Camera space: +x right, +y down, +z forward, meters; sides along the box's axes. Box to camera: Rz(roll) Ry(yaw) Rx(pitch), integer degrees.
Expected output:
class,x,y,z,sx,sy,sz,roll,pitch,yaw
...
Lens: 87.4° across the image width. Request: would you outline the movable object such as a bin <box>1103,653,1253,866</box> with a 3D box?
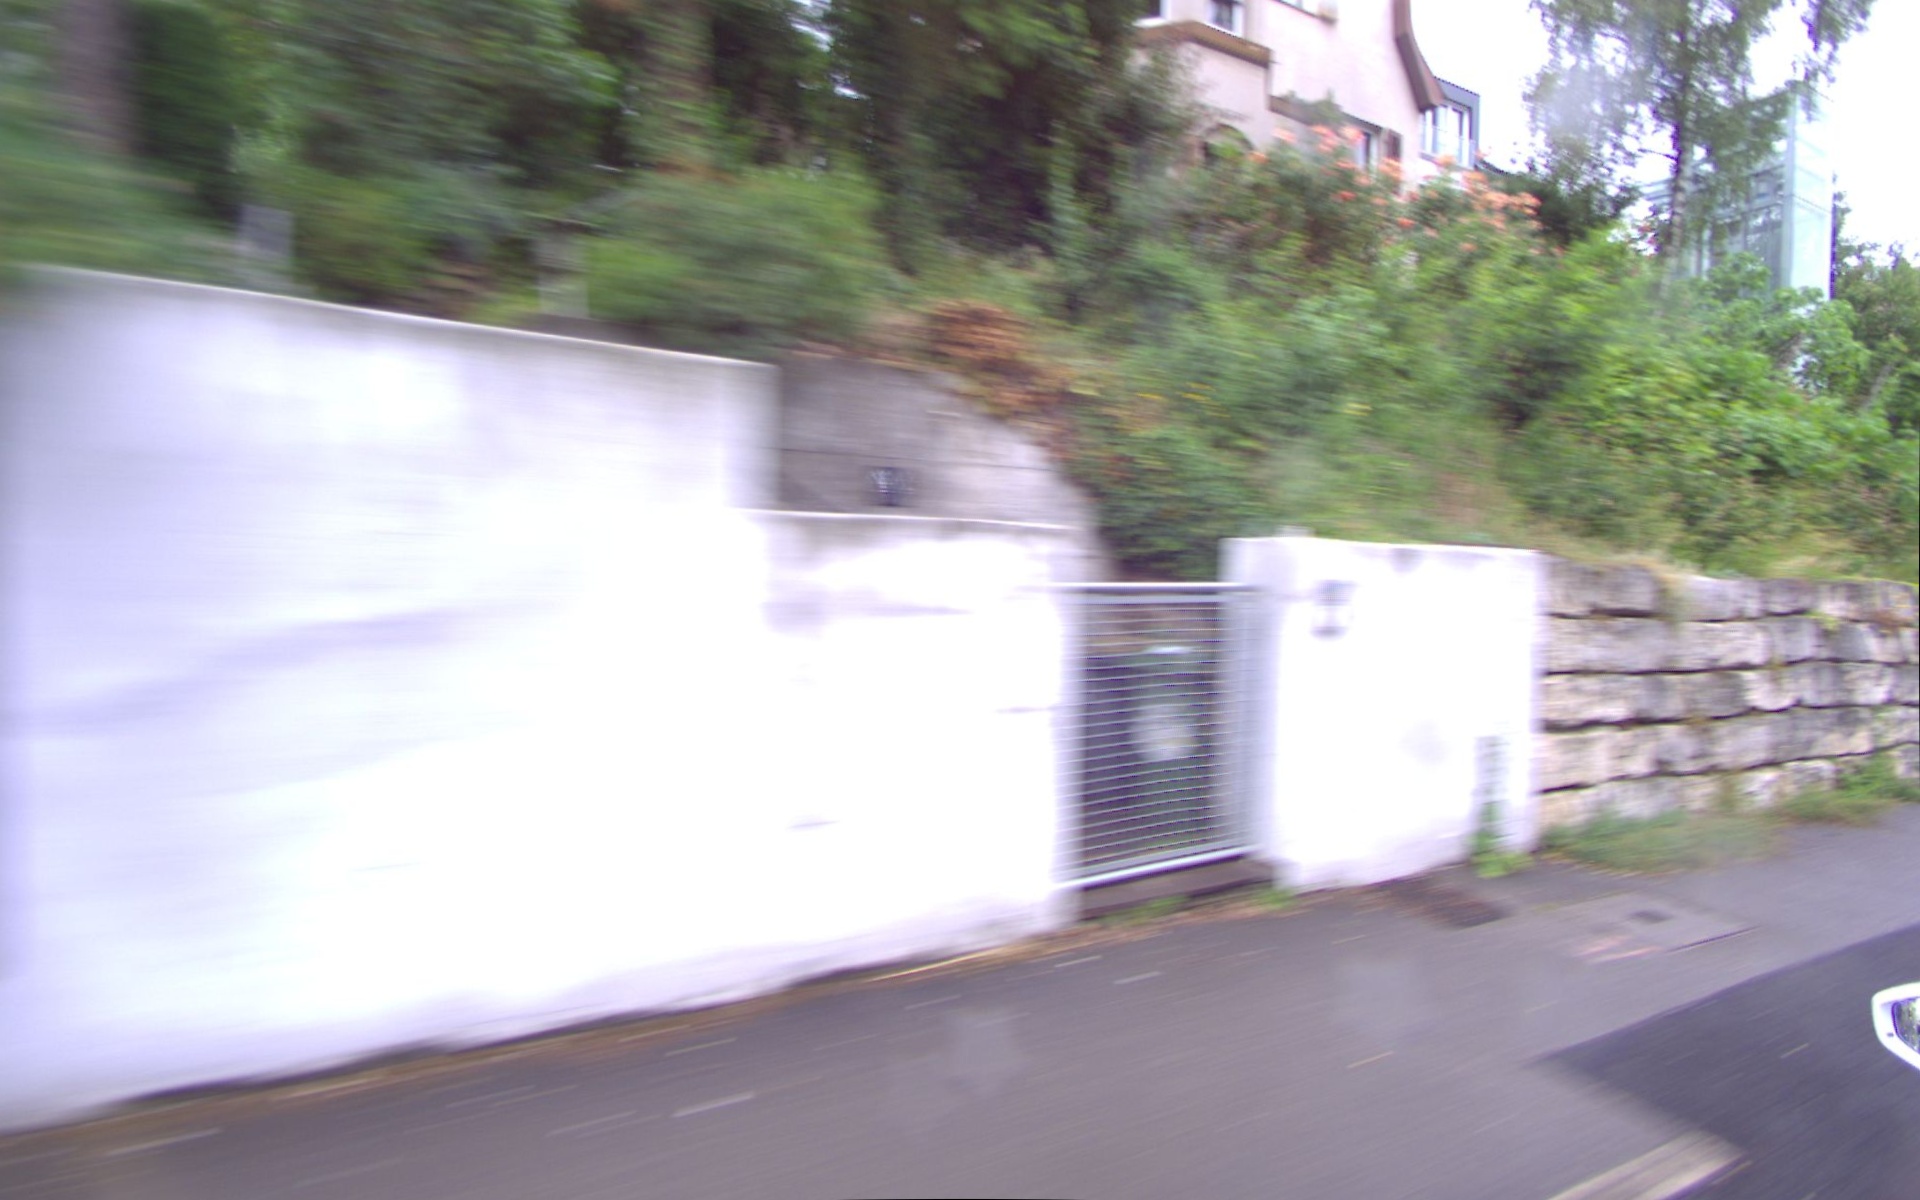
class,x,y,z,sx,sy,sz,roll,pitch,yaw
movable object such as a bin,1.111,0.784,5.150,0.492,0.978,0.504,2,2,-30
